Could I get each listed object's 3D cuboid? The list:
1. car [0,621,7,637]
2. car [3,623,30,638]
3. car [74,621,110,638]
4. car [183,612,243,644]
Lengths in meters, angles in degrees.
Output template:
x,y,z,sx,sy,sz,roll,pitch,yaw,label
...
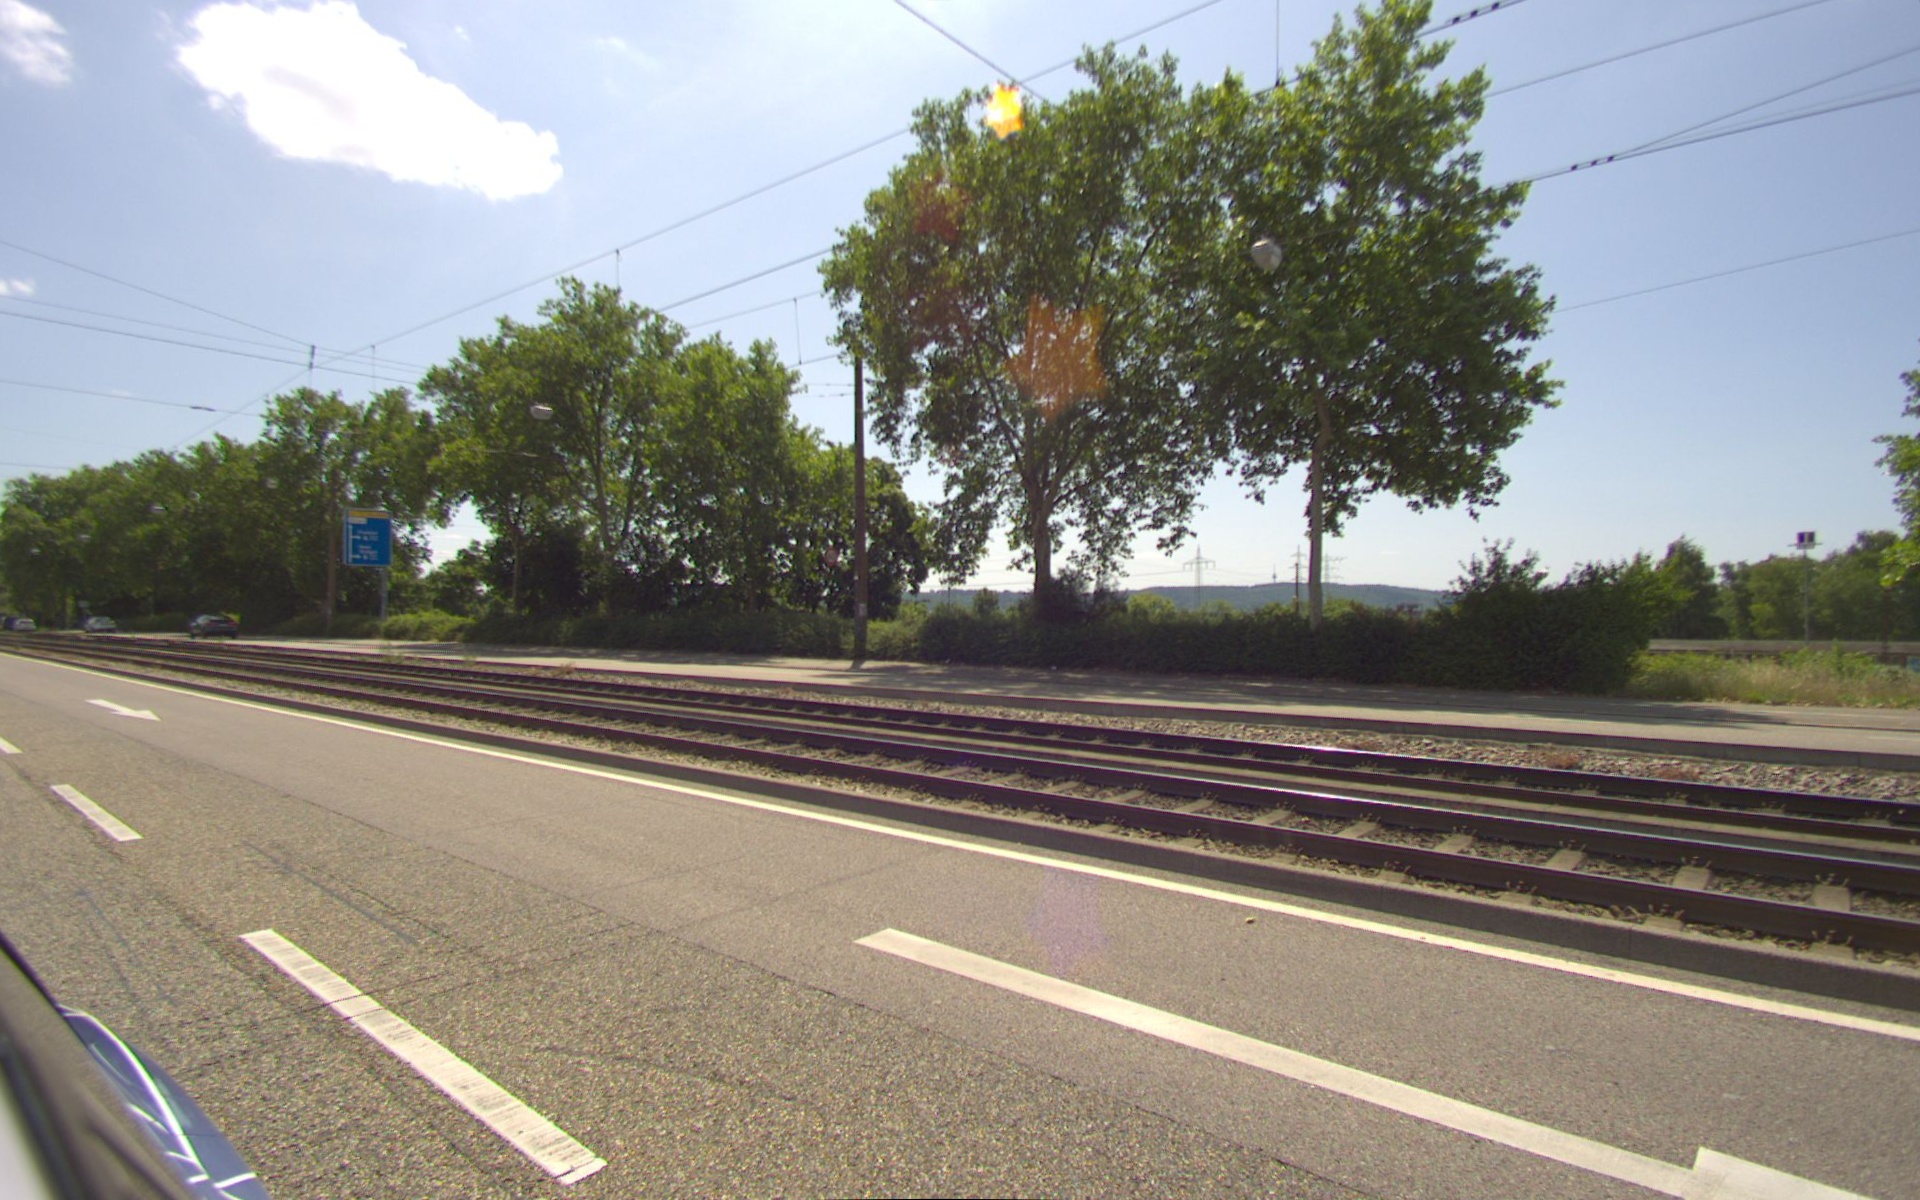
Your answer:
x,y,z,sx,sy,sz,roll,pitch,yaw,label
-118.689,3.536,124.148,4.965,1.844,1.973,-1,-4,40,car
-106.294,3.388,113.953,4.055,1.596,1.668,-1,-4,40,car
-75.451,2.555,87.969,3.883,1.426,1.803,-1,-4,42,car
-47.114,1.767,63.771,4.405,1.932,1.974,-1,0,39,car
